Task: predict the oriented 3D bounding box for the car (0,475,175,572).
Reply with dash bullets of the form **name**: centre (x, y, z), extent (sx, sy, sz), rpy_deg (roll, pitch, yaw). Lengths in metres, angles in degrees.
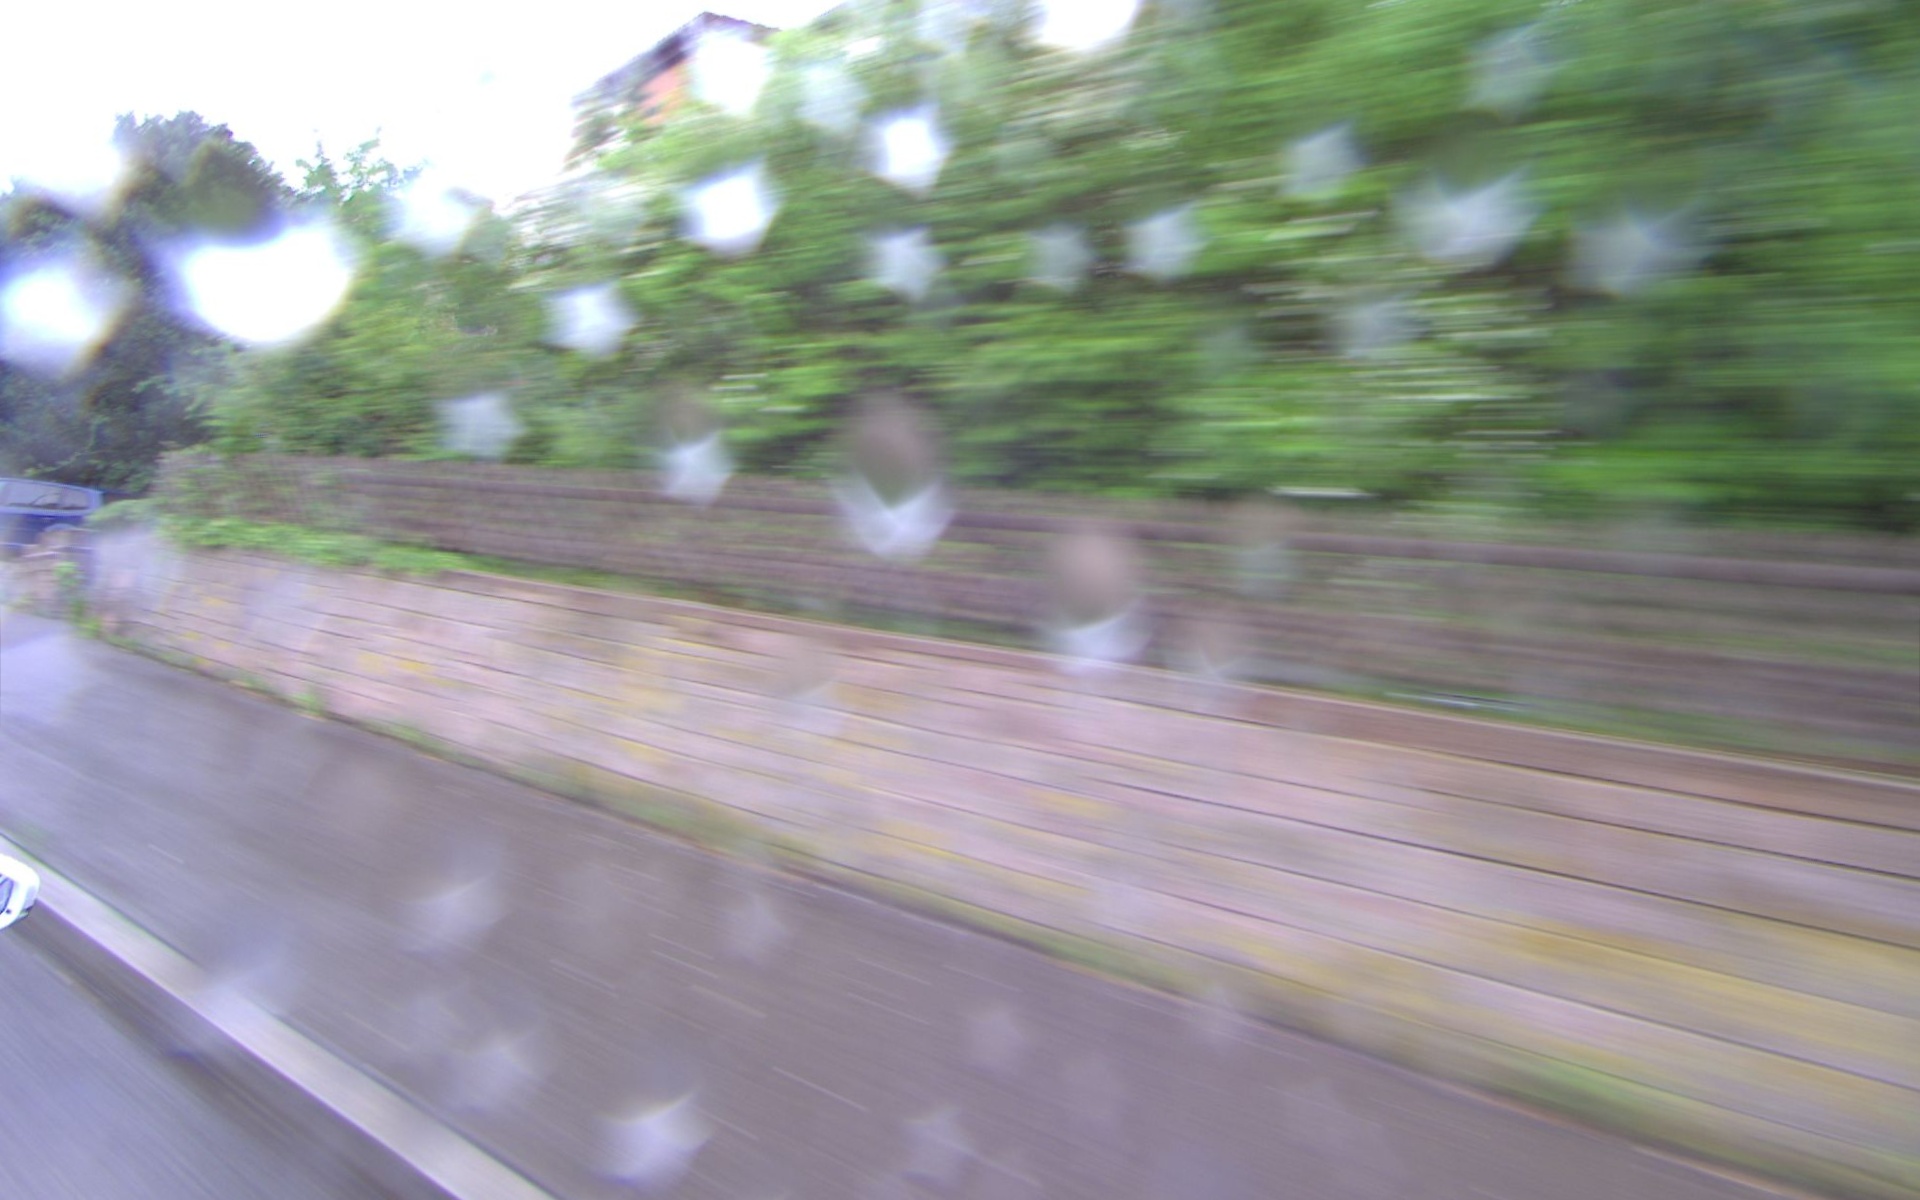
- **car**: centre (-18.493, -1.588, 19.923), extent (4.263, 1.629, 1.851), rpy_deg (5, 4, -7)
